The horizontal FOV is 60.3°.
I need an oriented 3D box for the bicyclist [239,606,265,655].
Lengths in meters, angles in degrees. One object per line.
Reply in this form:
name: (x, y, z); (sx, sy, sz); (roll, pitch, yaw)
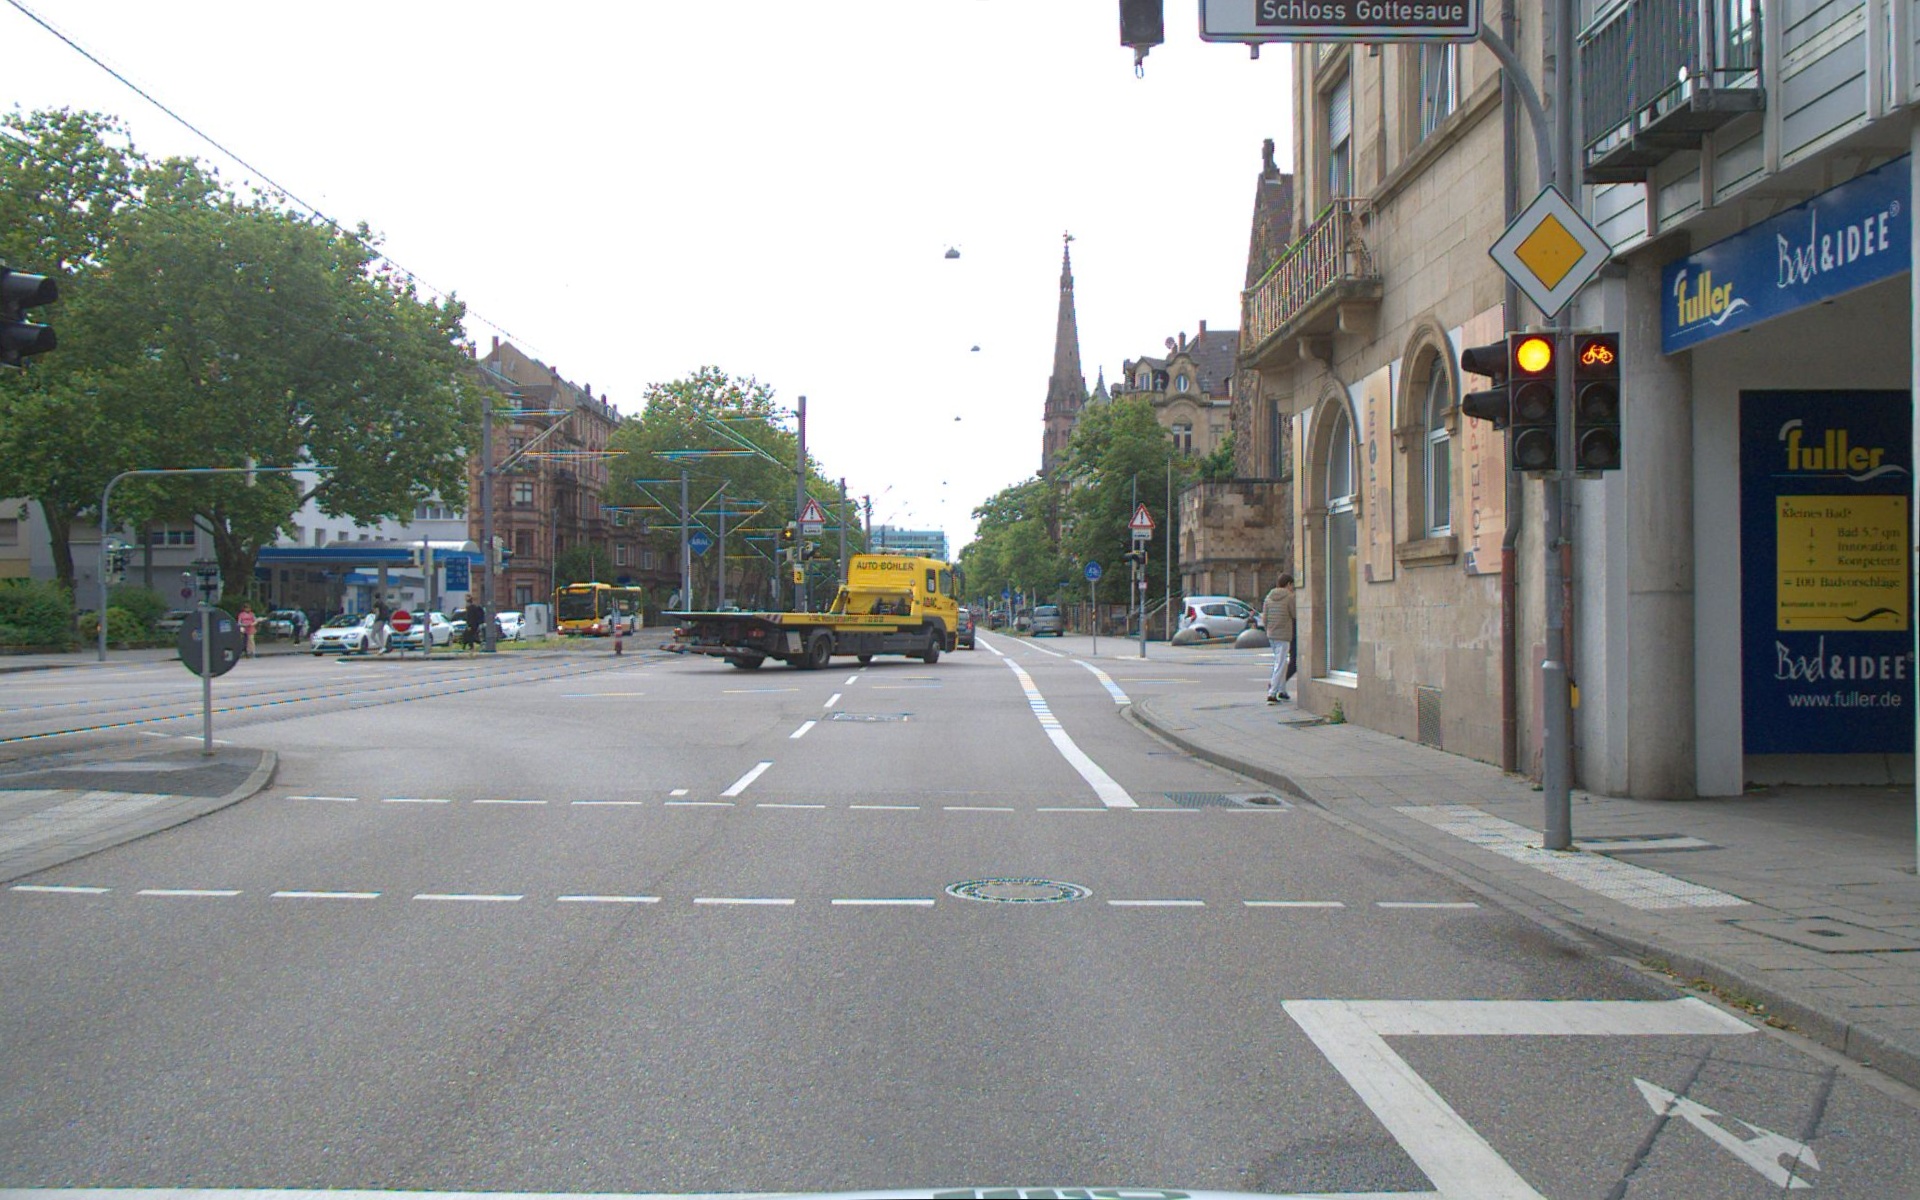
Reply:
bicyclist: (-23.522, 1.003, 54.950); (0.576, 1.595, 0.618); (1, -1, -1)

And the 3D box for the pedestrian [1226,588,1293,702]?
pedestrian: (4.553, 0.679, 25.094); (0.616, 1.681, 0.993); (0, -1, 36)

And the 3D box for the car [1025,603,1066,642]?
car: (4.640, 1.202, 90.168); (1.953, 2.049, 3.999); (1, -1, -1)

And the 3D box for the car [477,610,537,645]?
car: (-21.542, 1.297, 78.807); (1.856, 1.585, 3.835); (1, -1, -1)

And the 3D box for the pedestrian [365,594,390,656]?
pedestrian: (-17.262, 0.732, 49.020); (0.562, 1.826, 0.518); (1, -1, -5)

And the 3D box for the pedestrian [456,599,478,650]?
pedestrian: (-15.338, 0.757, 51.495); (0.535, 1.564, 0.465); (1, -1, -5)

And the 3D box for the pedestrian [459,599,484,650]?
pedestrian: (-15.048, 0.749, 50.953); (0.640, 1.564, 0.465); (1, -1, -5)

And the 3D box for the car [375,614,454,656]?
car: (-21.389, 1.355, 64.998); (1.856, 1.585, 3.835); (1, -1, -1)

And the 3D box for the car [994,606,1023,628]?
car: (3.745, 1.283, 128.523); (1.953, 1.635, 4.163); (-2, 0, -1)

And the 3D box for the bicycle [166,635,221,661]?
bicycle: (-25.027, 1.555, 54.011); (1.645, 0.786, 0.656); (1, -1, 20)

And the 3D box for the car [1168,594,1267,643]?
car: (10.634, 0.769, 68.469); (3.721, 1.937, 2.000); (1, -1, -1)

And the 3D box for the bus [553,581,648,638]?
bus: (-21.595, 0.573, 100.108); (3.022, 3.166, 13.091); (1, 0, -1)

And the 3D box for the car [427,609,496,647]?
car: (-21.636, 1.195, 71.974); (1.856, 1.585, 3.835); (1, -1, -1)

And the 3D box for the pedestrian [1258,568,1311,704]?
pedestrian: (4.551, 0.498, 23.162); (0.571, 1.845, 1.015); (1, -1, 19)

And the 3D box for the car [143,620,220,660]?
car: (-32.538, 1.668, 69.255); (1.859, 1.585, 3.828); (1, -1, -9)

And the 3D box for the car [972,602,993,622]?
car: (2.337, 1.270, 172.345); (1.953, 2.049, 3.999); (1, -1, -1)

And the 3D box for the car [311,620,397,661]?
car: (-21.416, 1.398, 58.585); (1.601, 1.349, 3.999); (1, -1, -1)

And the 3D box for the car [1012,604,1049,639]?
car: (4.210, 1.274, 99.717); (1.953, 2.049, 3.999); (1, -1, -1)

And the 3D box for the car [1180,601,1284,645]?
car: (10.681, 0.894, 65.058); (3.721, 1.629, 2.000); (1, -1, -1)

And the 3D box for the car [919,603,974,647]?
car: (-0.509, 0.892, 60.322); (1.799, 1.495, 3.990); (1, -1, -3)

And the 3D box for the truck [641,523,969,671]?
truck: (-3.234, -0.033, 38.678); (2.578, 2.992, 10.166); (0, 0, 27)

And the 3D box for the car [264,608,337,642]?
car: (-31.858, 1.192, 79.977); (1.953, 1.557, 3.999); (1, -1, -1)

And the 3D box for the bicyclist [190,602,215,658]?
bicyclist: (-24.732, 0.975, 54.014); (0.522, 1.815, 0.470); (1, -1, 19)

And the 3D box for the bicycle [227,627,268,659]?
bicycle: (-23.524, 1.406, 54.648); (0.511, 1.035, 1.936); (1, -1, -1)
